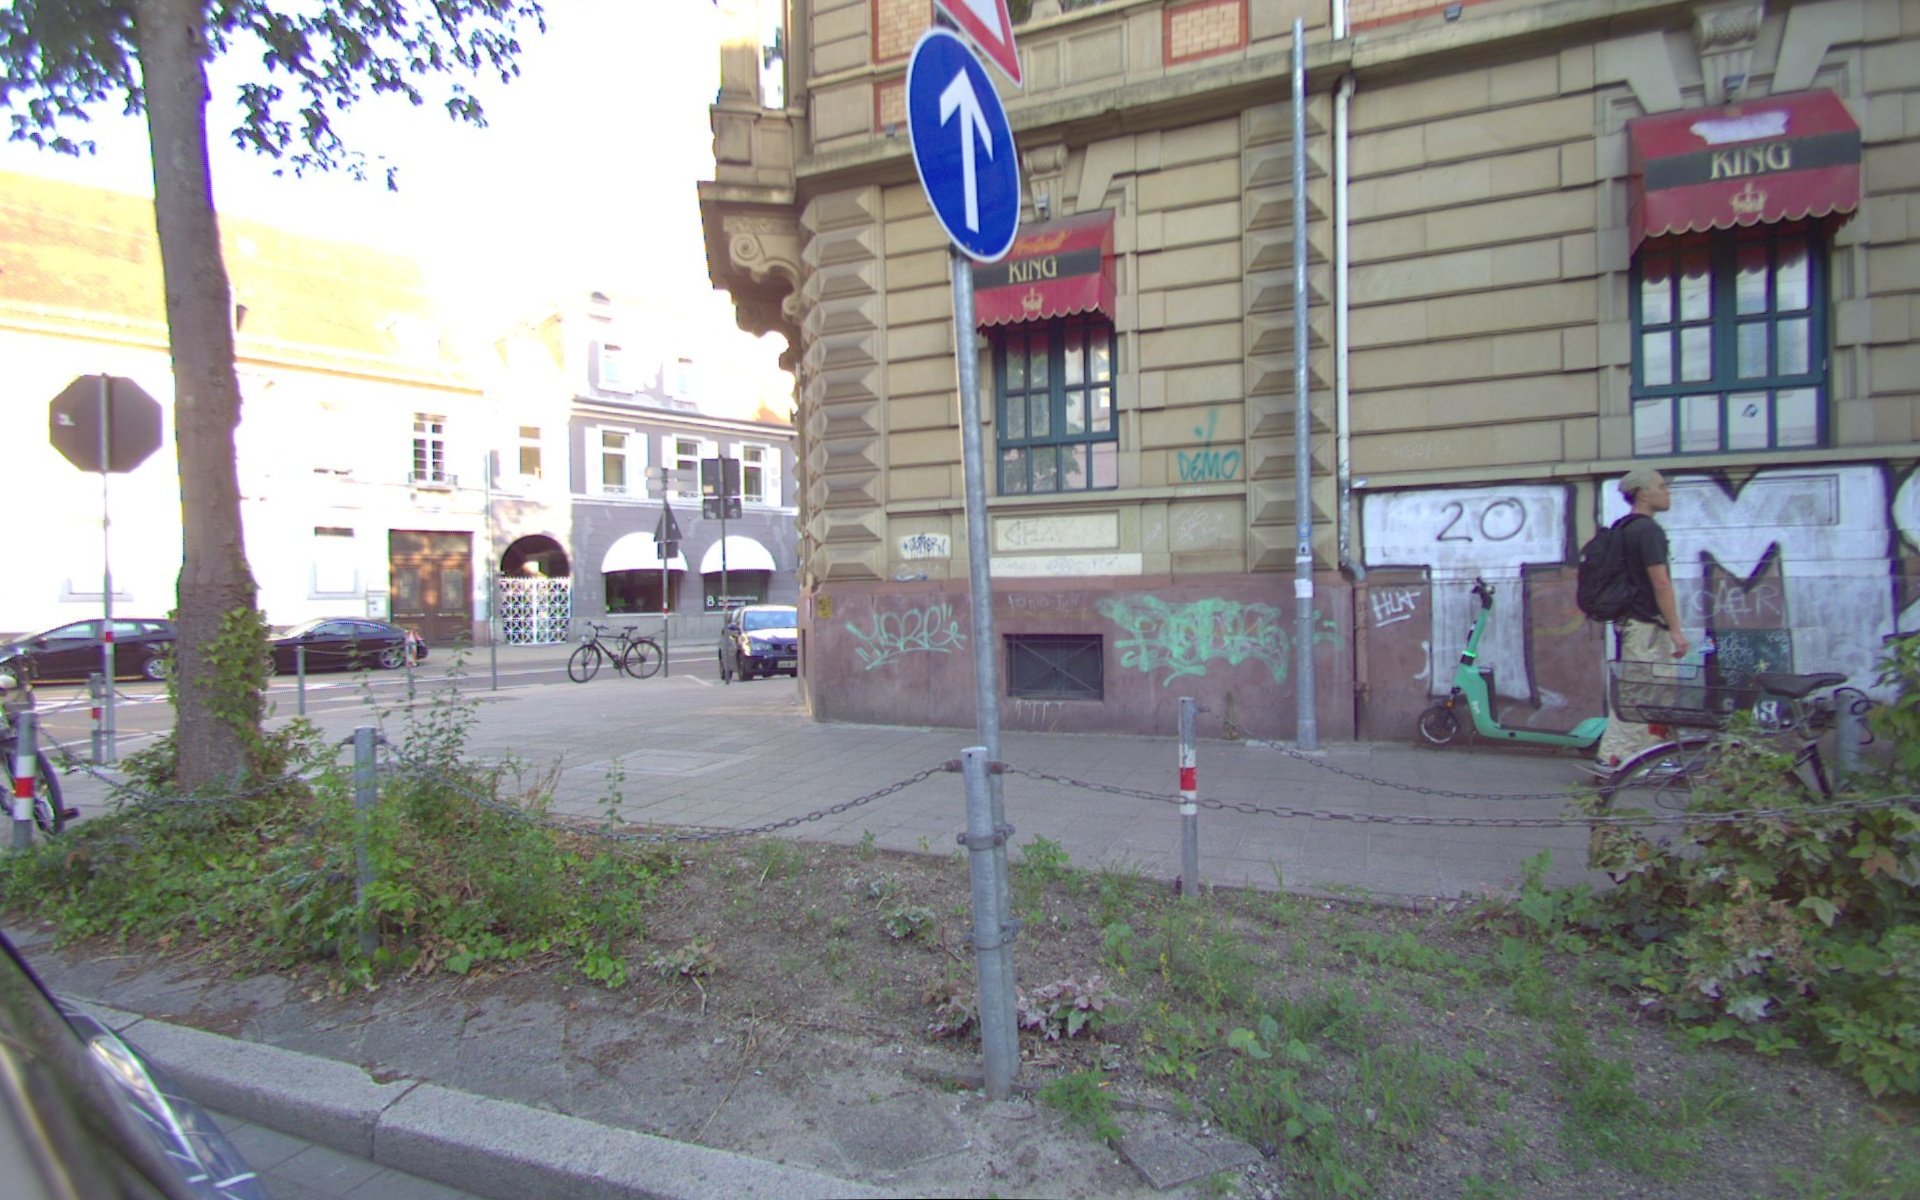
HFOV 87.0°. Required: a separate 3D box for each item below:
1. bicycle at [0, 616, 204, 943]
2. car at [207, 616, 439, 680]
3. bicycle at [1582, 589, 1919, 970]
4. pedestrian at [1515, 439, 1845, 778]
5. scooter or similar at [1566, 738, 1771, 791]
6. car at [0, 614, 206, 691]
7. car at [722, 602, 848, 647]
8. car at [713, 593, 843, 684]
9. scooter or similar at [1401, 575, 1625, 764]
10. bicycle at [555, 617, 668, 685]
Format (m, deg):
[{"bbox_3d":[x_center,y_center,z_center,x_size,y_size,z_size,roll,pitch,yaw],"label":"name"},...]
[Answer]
[{"bbox_3d":[-4.625,0.736,4.980,2.569,1.277,0.835,-2,-1,39],"label":"bicycle"},{"bbox_3d":[-16.255,1.177,25.993,4.784,1.405,1.780,-1,-1,-43],"label":"car"},{"bbox_3d":[3.275,0.549,3.258,2.088,1.162,0.508,-2,1,24],"label":"bicycle"},{"bbox_3d":[4.032,0.057,5.792,1.254,1.752,0.847,-2,1,13],"label":"pedestrian"},{"bbox_3d":[4.080,0.947,5.869,0.873,0.208,0.417,-1,3,13],"label":"scooter or similar"},{"bbox_3d":[-19.705,1.135,22.637,4.365,1.553,1.809,0,-1,-44],"label":"car"},{"bbox_3d":[-6.216,0.844,36.268,4.186,1.458,1.749,-1,-1,-44],"label":"car"},{"bbox_3d":[-3.502,0.759,18.903,1.711,1.472,3.875,-1,-3,-20],"label":"car"},{"bbox_3d":[3.751,0.442,6.905,1.284,1.176,0.434,-1,1,36],"label":"scooter or similar"},{"bbox_3d":[-6.342,0.921,18.461,1.774,1.134,0.730,-1,-3,-36],"label":"bicycle"}]
